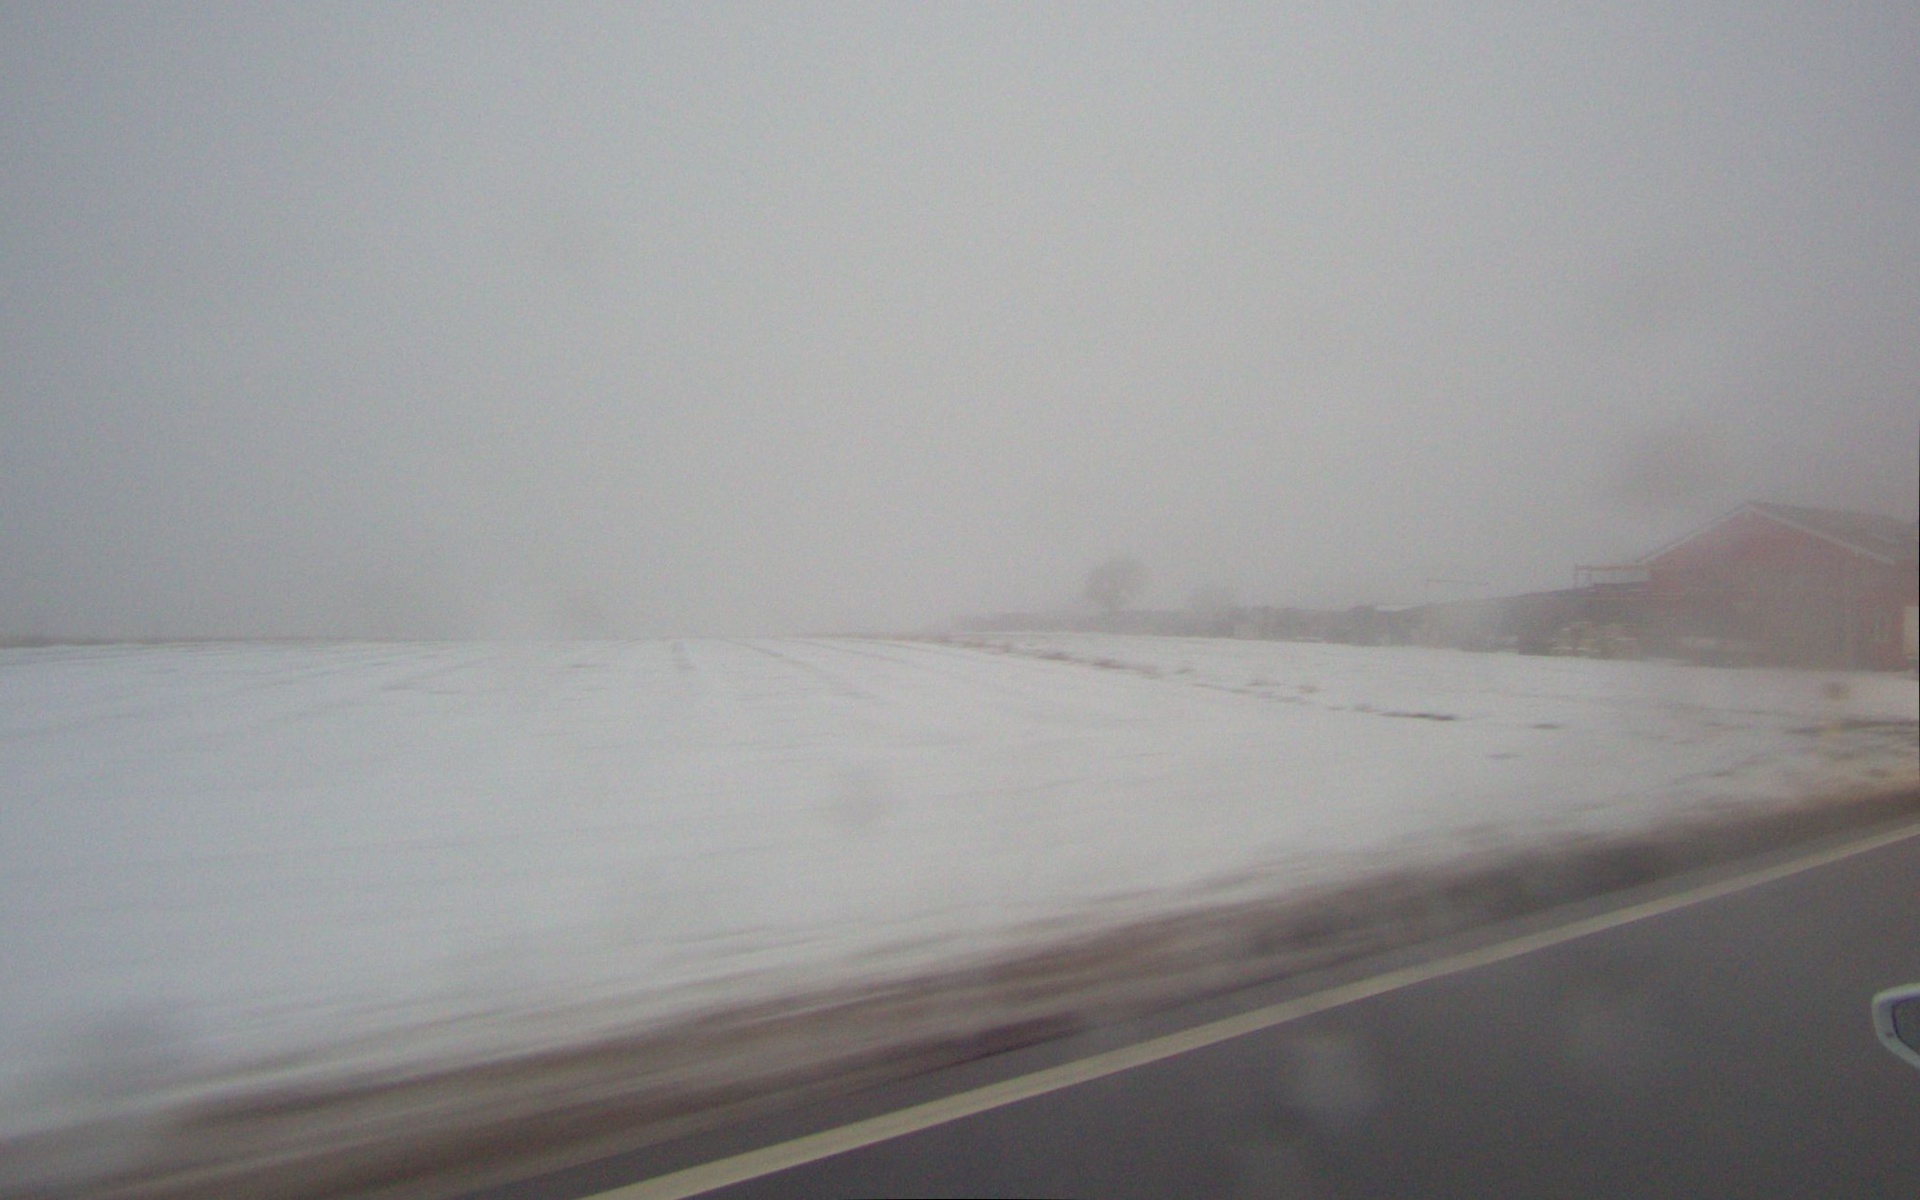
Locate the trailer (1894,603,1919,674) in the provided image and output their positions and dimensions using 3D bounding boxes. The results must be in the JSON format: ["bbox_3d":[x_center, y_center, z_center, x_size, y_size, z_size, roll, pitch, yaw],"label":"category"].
[{"bbox_3d":[35.809,1.396,35.991,3.953,2.522,1.989,2,-2,-23],"label":"trailer"}]
